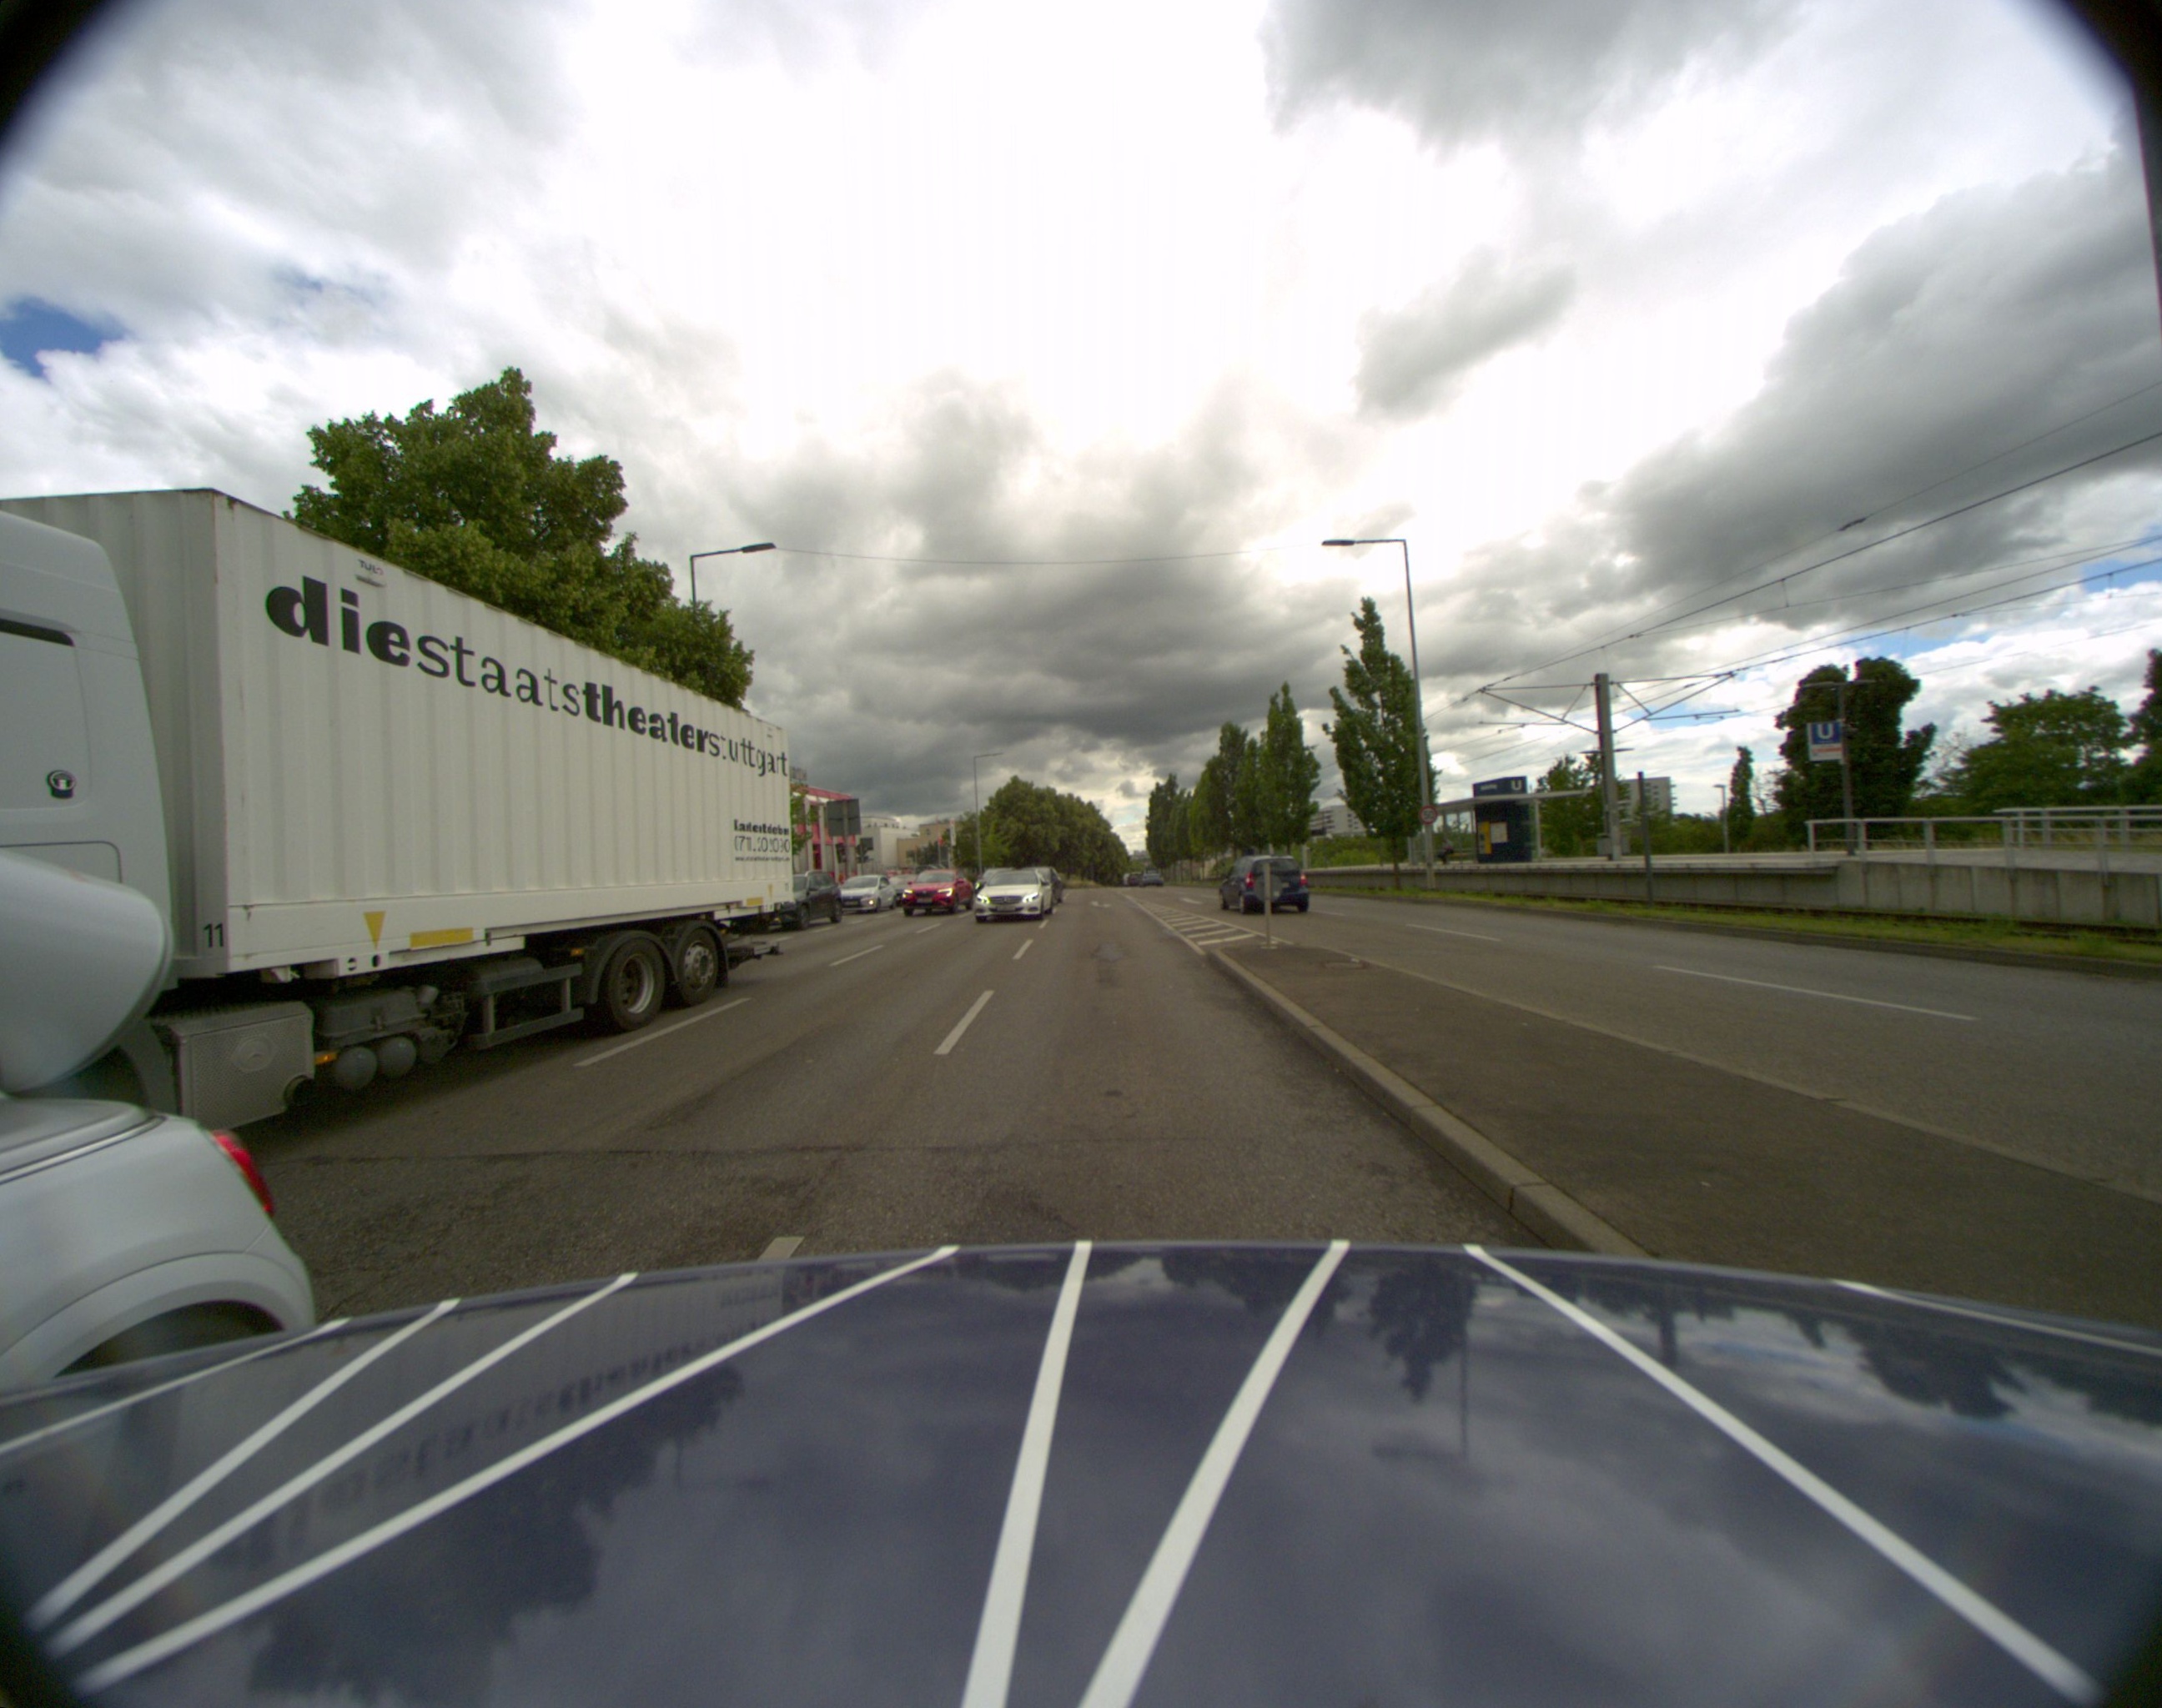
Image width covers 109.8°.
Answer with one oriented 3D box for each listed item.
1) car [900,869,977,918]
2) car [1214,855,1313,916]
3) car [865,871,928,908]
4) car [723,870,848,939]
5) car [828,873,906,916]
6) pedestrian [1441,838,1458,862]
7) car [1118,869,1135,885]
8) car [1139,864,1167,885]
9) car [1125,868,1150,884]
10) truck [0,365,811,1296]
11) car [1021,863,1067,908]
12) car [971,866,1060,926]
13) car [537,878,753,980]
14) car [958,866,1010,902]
[{"bbox_3d":[-5.015,1.352,27.365,1.851,1.521,4.377,-2,-1,0],"label":"car"},{"bbox_3d":[5.023,0.825,21.385,1.740,1.499,3.659,-2,0,-2],"label":"car"},{"bbox_3d":[-8.427,1.579,35.123,1.763,1.431,4.370,-3,0,0],"label":"car"},{"bbox_3d":[-8.442,1.380,22.154,1.865,1.648,4.209,-4,-1,1],"label":"car"},{"bbox_3d":[-8.457,1.566,30.426,1.763,1.431,4.370,-3,0,0],"label":"car"},{"bbox_3d":[17.815,-0.187,36.756,0.601,1.148,0.447,-2,1,1],"label":"pedestrian"},{"bbox_3d":[6.194,3.085,103.235,1.920,1.953,5.372,-2,1,0],"label":"car"},{"bbox_3d":[5.833,1.657,62.286,1.761,1.519,3.599,-2,1,-3],"label":"car"},{"bbox_3d":[5.854,2.287,78.648,1.876,1.416,4.430,-2,1,-4],"label":"car"},{"bbox_3d":[-5.796,-0.067,6.668,2.809,3.880,10.183,-2,0,2],"label":"truck"},{"bbox_3d":[-1.491,1.269,31.775,1.669,1.589,3.996,-2,1,0],"label":"car"},{"bbox_3d":[-1.821,1.170,22.423,1.803,1.403,4.318,-2,1,5],"label":"car"},{"bbox_3d":[-8.591,1.389,15.481,1.844,1.507,4.106,-6,0,1],"label":"car"},{"bbox_3d":[-4.872,1.478,38.681,1.797,1.521,4.219,-2,1,3],"label":"car"}]
